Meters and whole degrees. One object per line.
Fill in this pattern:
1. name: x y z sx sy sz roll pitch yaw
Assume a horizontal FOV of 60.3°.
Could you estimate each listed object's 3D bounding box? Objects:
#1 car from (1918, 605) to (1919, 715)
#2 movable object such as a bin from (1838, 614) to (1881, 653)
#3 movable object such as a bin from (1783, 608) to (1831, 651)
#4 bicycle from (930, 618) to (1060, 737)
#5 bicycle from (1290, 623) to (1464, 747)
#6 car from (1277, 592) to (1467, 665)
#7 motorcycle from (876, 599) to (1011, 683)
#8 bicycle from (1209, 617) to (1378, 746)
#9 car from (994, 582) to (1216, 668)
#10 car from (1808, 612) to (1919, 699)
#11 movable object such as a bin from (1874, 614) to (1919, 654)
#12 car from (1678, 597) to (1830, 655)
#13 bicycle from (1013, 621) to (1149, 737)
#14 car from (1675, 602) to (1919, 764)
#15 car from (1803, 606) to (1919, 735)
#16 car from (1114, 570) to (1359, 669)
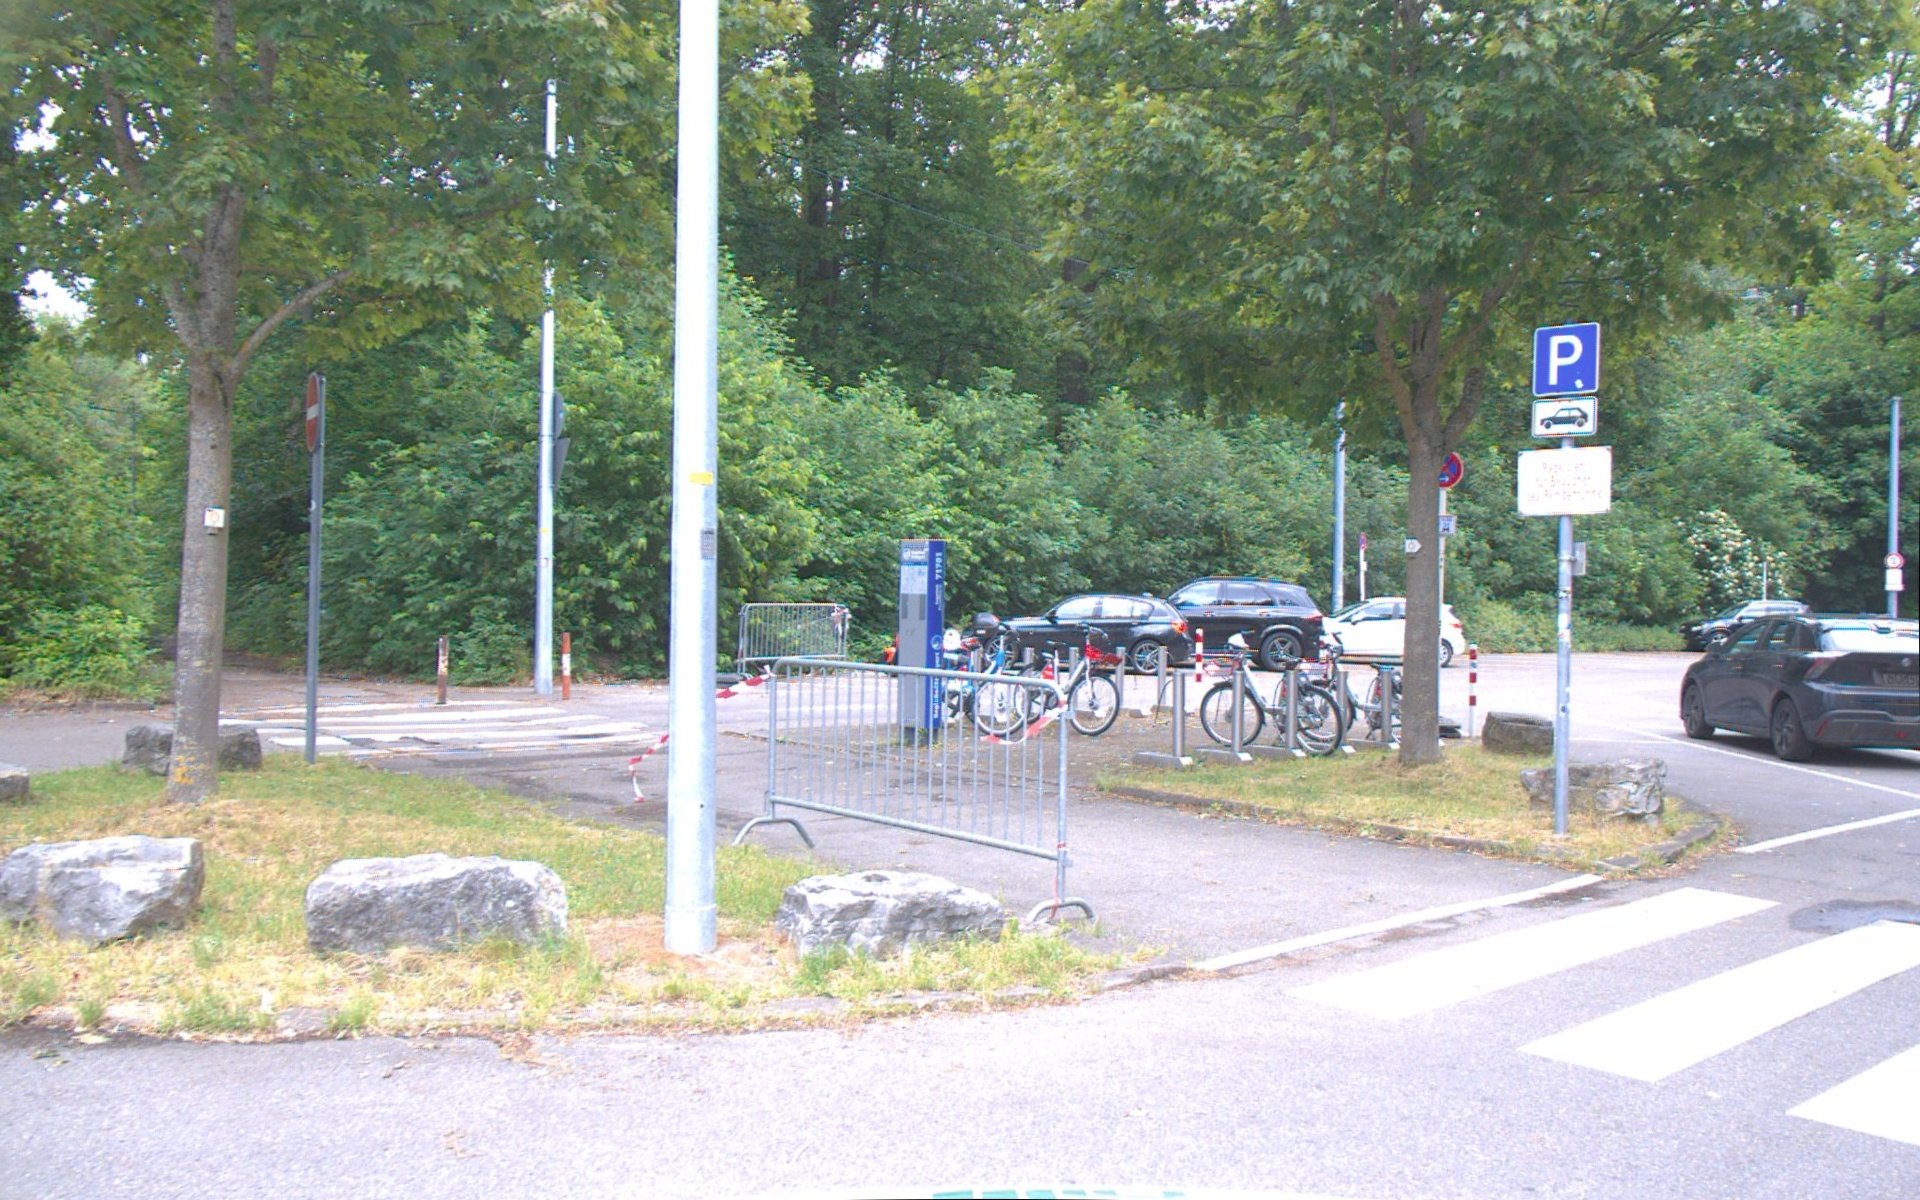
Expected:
1. car: 14.957 0.915 22.572 1.647 1.613 3.654 1 0 0
2. movable object such as a bin: 31.281 1.159 57.557 1.100 1.337 1.185 1 0 18
3. movable object such as a bin: 29.797 1.039 58.184 1.119 1.450 1.111 1 0 -39
4. bicycle: 0.343 0.785 17.331 0.477 1.131 1.677 2 0 -33
5. bicycle: 4.182 0.830 16.697 0.478 1.131 1.764 2 0 -38
6. car: 9.300 0.626 37.568 3.903 1.537 1.871 1 0 3
7. motorcycle: -0.252 0.633 26.059 1.980 1.229 0.731 2 0 13
8. bicycle: 3.173 0.753 15.869 0.478 1.131 1.662 2 0 -38
9. car: 2.627 0.442 30.268 3.903 1.400 1.741 2 0 3
10. car: 17.672 0.997 30.508 1.825 1.467 4.316 1 0 0
11. movable object such as a bin: 32.378 1.178 57.148 1.144 1.330 1.314 1 0 18
12. car: 25.588 0.821 53.399 3.973 1.714 1.881 2 0 4
13. bicycle: 1.283 0.827 17.839 0.500 1.131 1.664 2 0 -36
14. car: 9.526 0.826 18.270 1.786 1.549 4.103 2 0 5
15. car: 12.438 0.880 20.616 1.832 1.509 4.000 2 0 0
16. car: 5.422 0.365 32.936 4.595 1.798 2.113 1 0 3
